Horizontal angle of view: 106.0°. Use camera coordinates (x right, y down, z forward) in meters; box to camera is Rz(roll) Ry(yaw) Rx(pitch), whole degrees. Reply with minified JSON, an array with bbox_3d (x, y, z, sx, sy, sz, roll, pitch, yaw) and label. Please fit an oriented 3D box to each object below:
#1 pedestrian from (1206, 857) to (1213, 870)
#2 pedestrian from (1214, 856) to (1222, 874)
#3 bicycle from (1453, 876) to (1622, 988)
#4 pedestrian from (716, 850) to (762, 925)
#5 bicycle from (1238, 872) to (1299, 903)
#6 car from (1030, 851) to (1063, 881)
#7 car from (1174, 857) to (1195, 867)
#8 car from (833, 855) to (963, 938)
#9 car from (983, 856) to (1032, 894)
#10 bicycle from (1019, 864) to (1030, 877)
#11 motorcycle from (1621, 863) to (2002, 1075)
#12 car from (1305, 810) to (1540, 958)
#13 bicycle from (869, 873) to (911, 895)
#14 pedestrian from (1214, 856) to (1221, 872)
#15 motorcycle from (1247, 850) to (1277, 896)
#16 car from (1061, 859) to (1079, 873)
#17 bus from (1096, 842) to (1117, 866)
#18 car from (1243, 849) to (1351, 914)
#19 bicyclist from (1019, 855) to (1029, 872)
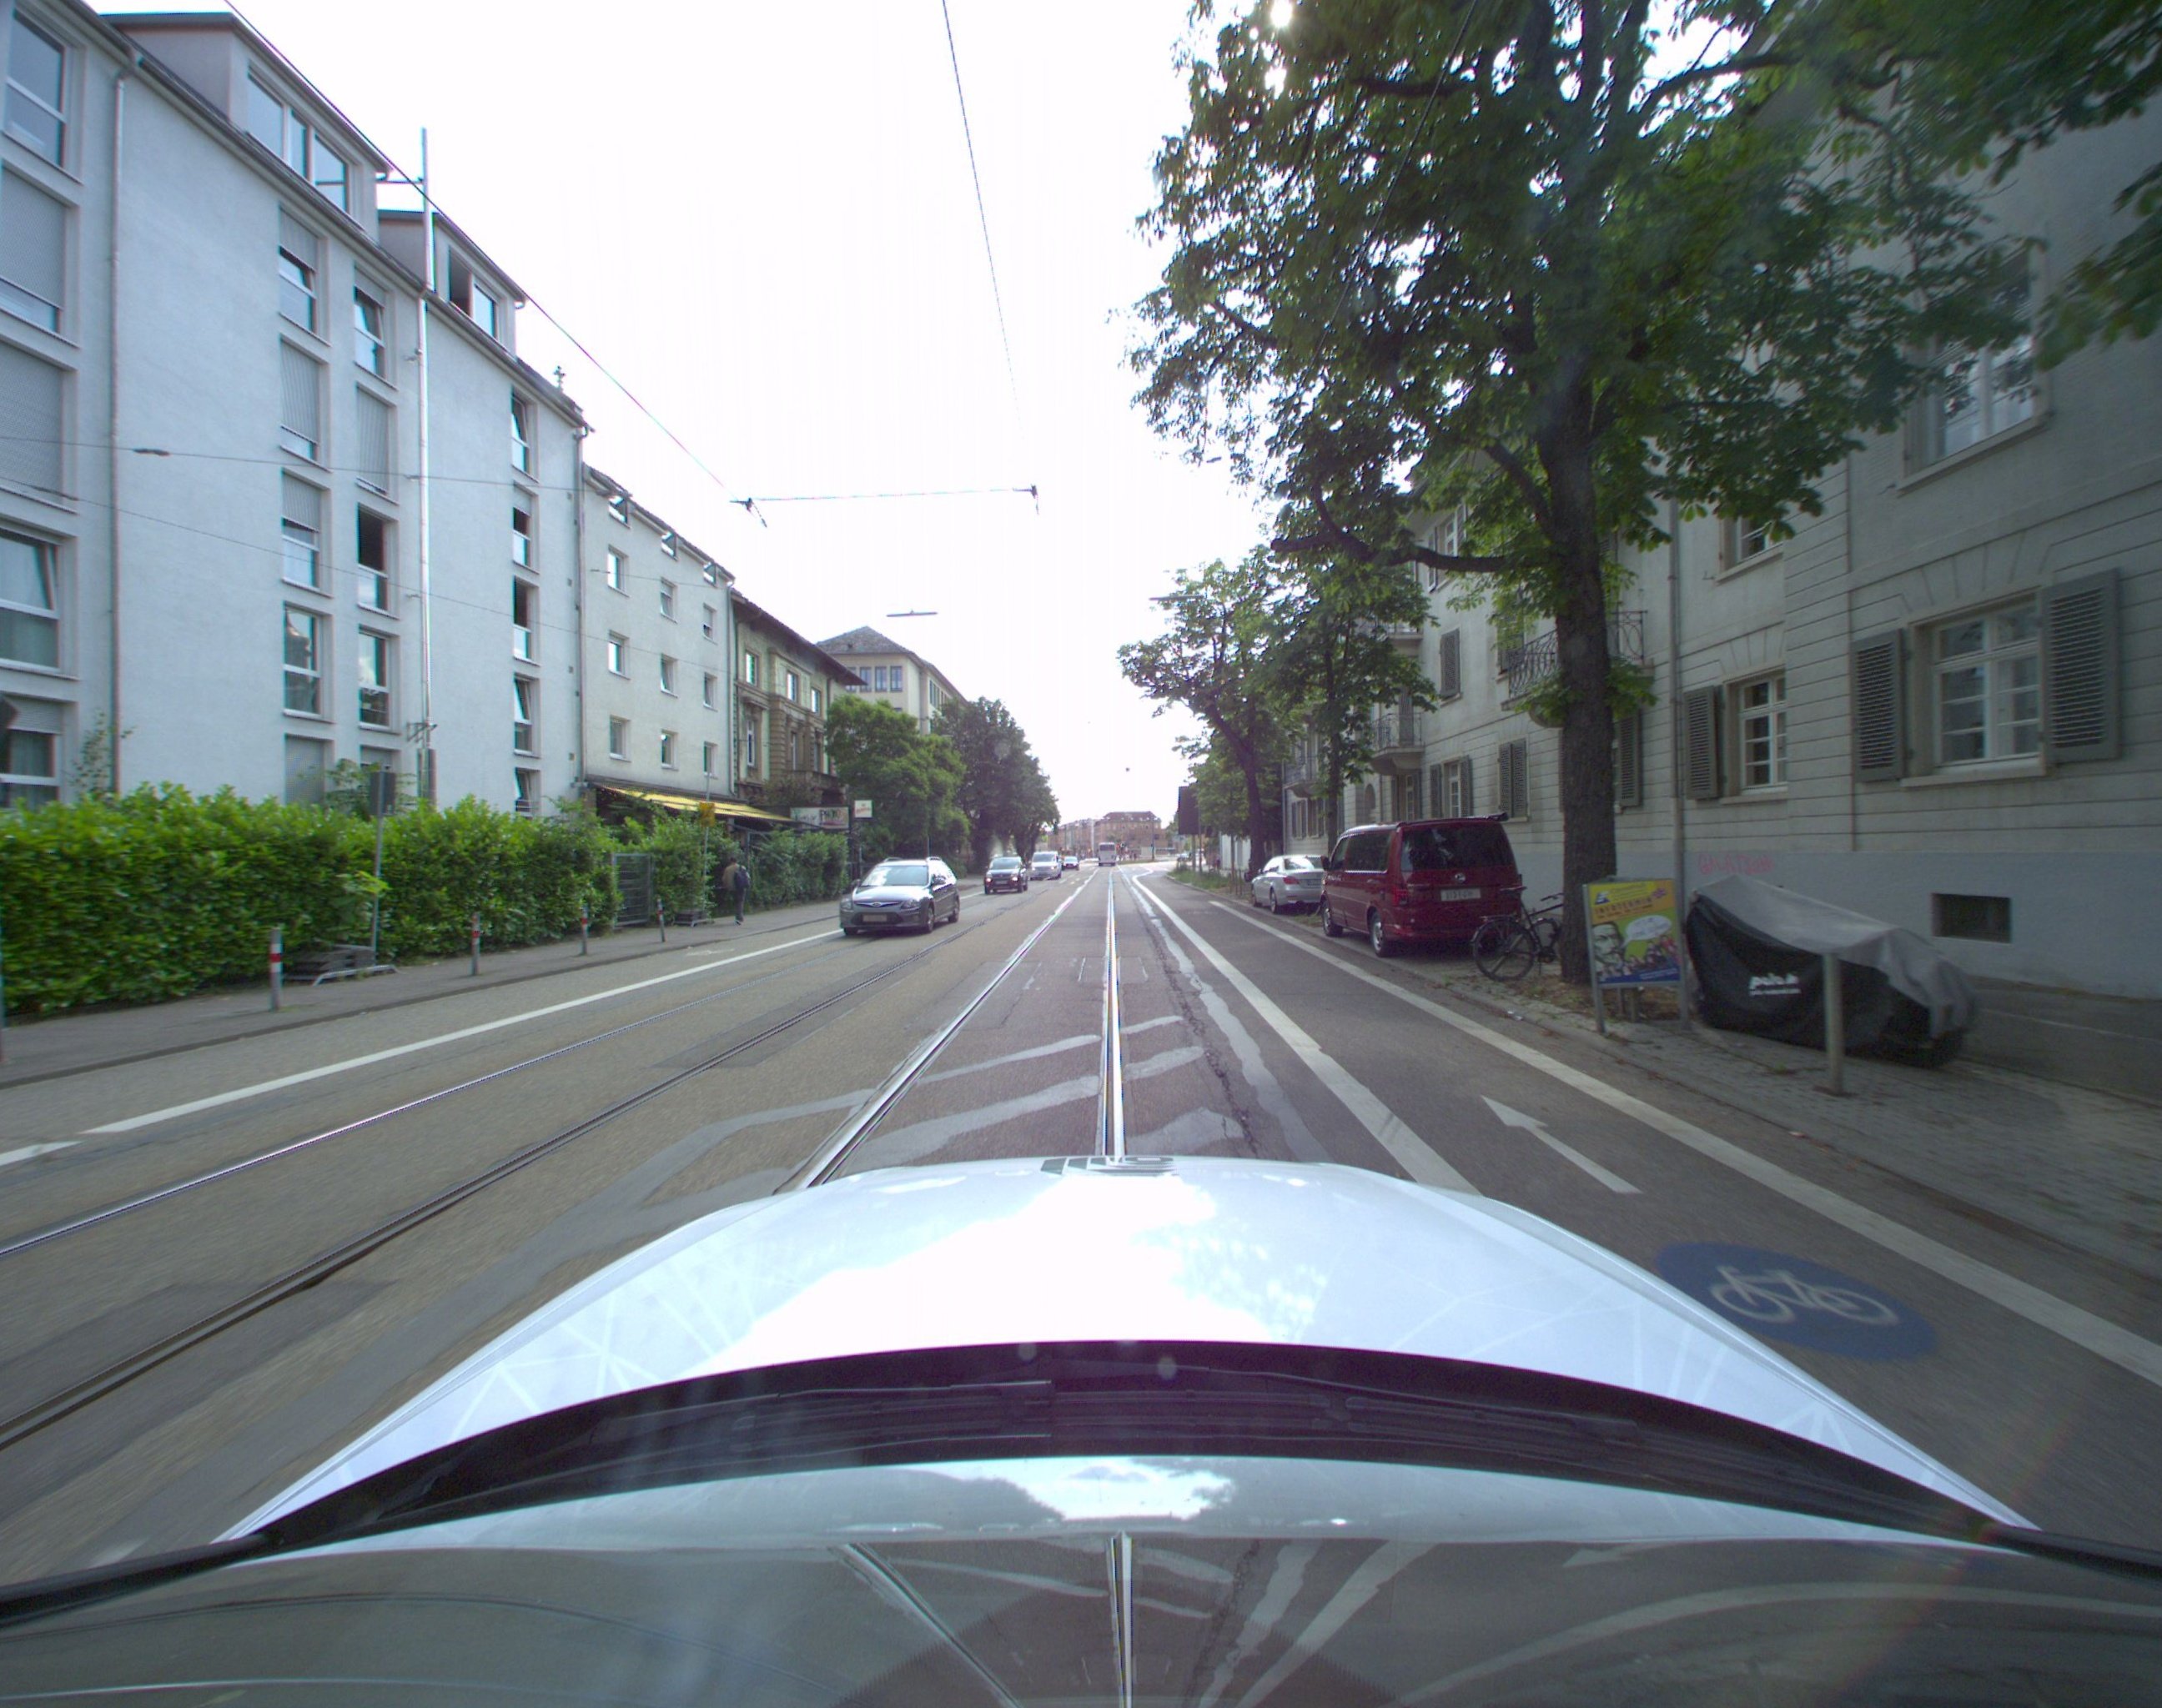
[{"bbox_3d":[12.977,0.959,82.208,0.424,1.200,0.402,-3,1,-31],"label":"pedestrian"},{"bbox_3d":[13.654,1.102,81.350,0.681,1.724,0.748,-3,1,4],"label":"pedestrian"},{"bbox_3d":[5.215,0.879,9.362,1.605,1.203,0.589,-1,-1,-2],"label":"bicycle"},{"bbox_3d":[-8.904,0.854,21.256,1.063,1.917,0.823,-1,-1,-21],"label":"pedestrian"},{"bbox_3d":[5.878,1.044,25.540,1.768,0.903,0.692,-1,-1,4],"label":"bicycle"},{"bbox_3d":[-2.334,0.815,56.079,1.891,1.907,5.384,-1,0,1],"label":"car"},{"bbox_3d":[19.144,1.423,150.247,2.109,1.684,4.128,1,1,37],"label":"car"},{"bbox_3d":[-3.790,0.822,17.629,1.721,1.540,4.277,-2,0,1],"label":"car"},{"bbox_3d":[-3.225,0.890,36.227,1.625,1.556,3.824,-1,0,2],"label":"car"},{"bbox_3d":[-5.166,1.553,75.168,0.600,1.097,2.025,-6,0,5],"label":"bicycle"},{"bbox_3d":[5.411,0.737,6.358,0.854,1.321,2.447,-1,0,3],"label":"motorcycle"},{"bbox_3d":[5.265,0.415,13.410,1.888,1.941,4.952,-1,0,2],"label":"car"},{"bbox_3d":[-8.866,1.380,37.984,1.138,0.909,2.990,2,0,2],"label":"bicycle"},{"bbox_3d":[13.880,0.998,82.961,0.519,1.580,0.547,-3,1,-8],"label":"pedestrian"},{"bbox_3d":[6.364,0.635,28.560,0.973,1.542,2.449,-1,0,13],"label":"motorcycle"},{"bbox_3d":[-1.106,1.279,85.261,1.682,1.402,3.932,-2,-1,2],"label":"car"},{"bbox_3d":[3.781,0.105,120.753,2.907,3.328,12.209,0,-1,1],"label":"bus"},{"bbox_3d":[5.559,0.655,21.580,1.700,1.498,4.791,-1,0,2],"label":"car"},{"bbox_3d":[-5.249,0.836,75.146,0.596,1.492,0.883,-6,0,5],"label":"bicyclist"}]
